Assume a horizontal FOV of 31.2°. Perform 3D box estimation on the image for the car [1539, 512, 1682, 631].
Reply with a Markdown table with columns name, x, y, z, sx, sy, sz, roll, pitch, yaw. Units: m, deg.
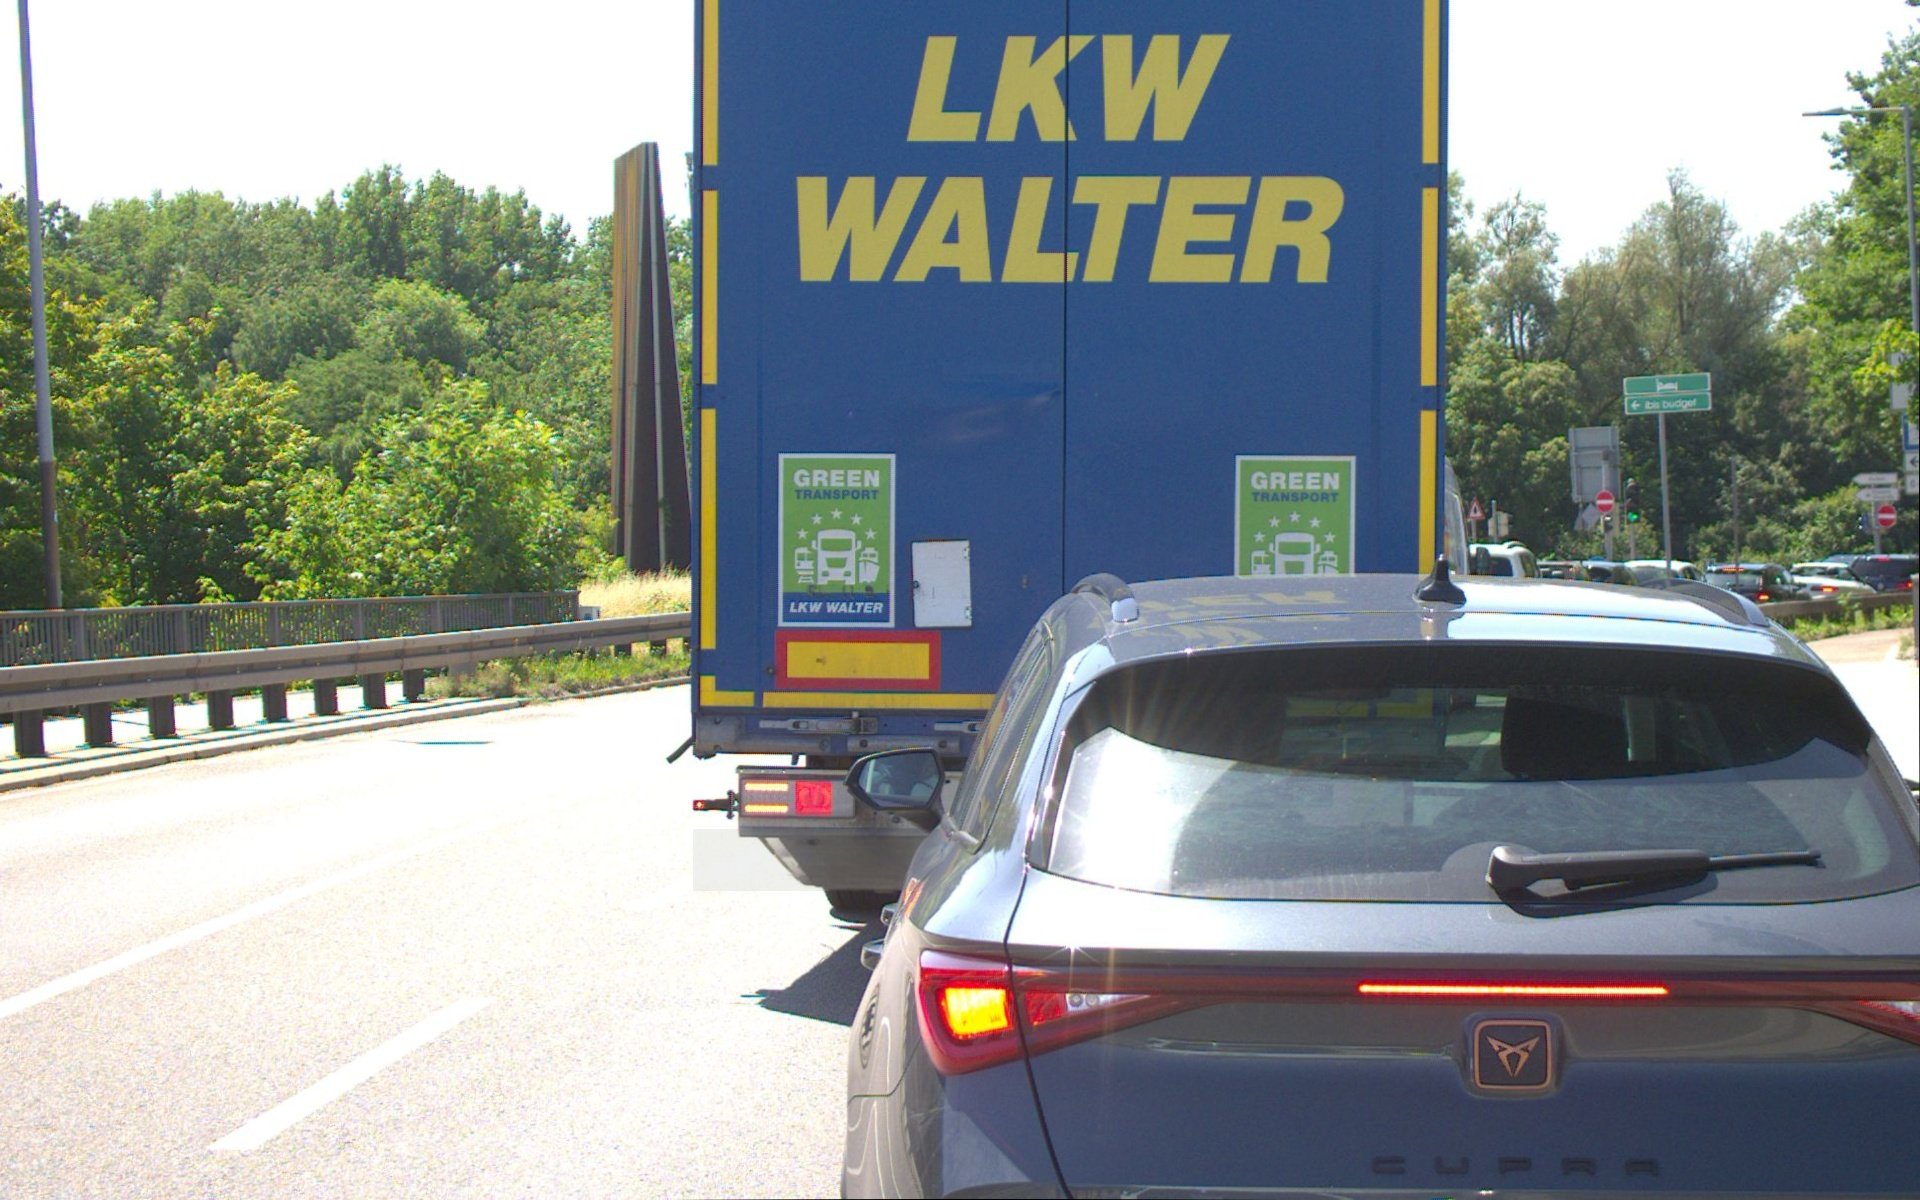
| name | x | y | z | sx | sy | sz | roll | pitch | yaw |
| --- | --- | --- | --- | --- | --- | --- | --- | --- | --- |
| car | 10.520 | -0.484 | 55.388 | 1.722 | 1.837 | 3.996 | 0 | 1 | 19 |

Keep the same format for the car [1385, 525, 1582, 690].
| name | x | y | z | sx | sy | sz | roll | pitch | yaw |
| --- | --- | --- | --- | --- | --- | --- | --- | --- | --- |
| car | 6.288 | 0.039 | 40.996 | 1.722 | 1.837 | 3.997 | 0 | 2 | 18 |

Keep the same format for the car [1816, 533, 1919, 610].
| name | x | y | z | sx | sy | sz | roll | pitch | yaw |
| --- | --- | --- | --- | --- | --- | --- | --- | --- | --- |
| car | 21.365 | -0.652 | 80.363 | 1.688 | 1.754 | 3.994 | 0 | 0 | 28 |

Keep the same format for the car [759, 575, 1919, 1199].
| name | x | y | z | sx | sy | sz | roll | pitch | yaw |
| --- | --- | --- | --- | --- | --- | --- | --- | --- | --- |
| car | 0.668 | 0.699 | 5.923 | 1.677 | 1.451 | 3.958 | 0 | 1 | 2 |

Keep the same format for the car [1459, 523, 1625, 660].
| name | x | y | z | sx | sy | sz | roll | pitch | yaw |
| --- | --- | --- | --- | --- | --- | --- | --- | --- | --- |
| car | 8.049 | -0.153 | 47.313 | 1.722 | 1.796 | 3.997 | 0 | 1 | 18 |

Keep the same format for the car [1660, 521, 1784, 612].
| name | x | y | z | sx | sy | sz | roll | pitch | yaw |
| --- | --- | --- | --- | --- | --- | --- | --- | --- | --- |
| car | 15.137 | -0.648 | 68.149 | 1.687 | 1.754 | 3.995 | 0 | 0 | 23 |

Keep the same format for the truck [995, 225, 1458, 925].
| name | x | y | z | sx | sy | sz | roll | pitch | yaw |
| --- | --- | --- | --- | --- | --- | --- | --- | --- | --- |
| truck | 2.090 | -0.223 | 25.048 | 2.905 | 4.403 | 6.554 | 0 | 1 | 7 |

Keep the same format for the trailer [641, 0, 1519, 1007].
| name | x | y | z | sx | sy | sz | roll | pitch | yaw |
| --- | --- | --- | --- | --- | --- | --- | --- | --- | --- |
| trailer | 1.148 | -0.994 | 17.557 | 2.905 | 4.403 | 12.430 | 0 | 1 | 7 |

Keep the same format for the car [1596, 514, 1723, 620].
| name | x | y | z | sx | sy | sz | roll | pitch | yaw |
| --- | --- | --- | --- | --- | --- | --- | --- | --- | --- |
| car | 12.543 | -0.618 | 61.502 | 1.722 | 1.837 | 3.996 | 0 | 1 | 19 |

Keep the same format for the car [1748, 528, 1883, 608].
| name | x | y | z | sx | sy | sz | roll | pitch | yaw |
| --- | --- | --- | --- | --- | --- | --- | --- | --- | --- |
| car | 18.532 | -0.679 | 74.373 | 1.996 | 1.570 | 3.994 | 2 | 0 | 26 |

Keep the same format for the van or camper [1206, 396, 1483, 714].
| name | x | y | z | sx | sy | sz | roll | pitch | yaw |
| --- | --- | --- | --- | --- | --- | --- | --- | --- | --- |
| van or camper | 3.876 | -0.458 | 33.613 | 2.155 | 2.806 | 6.384 | 0 | 1 | 11 |
